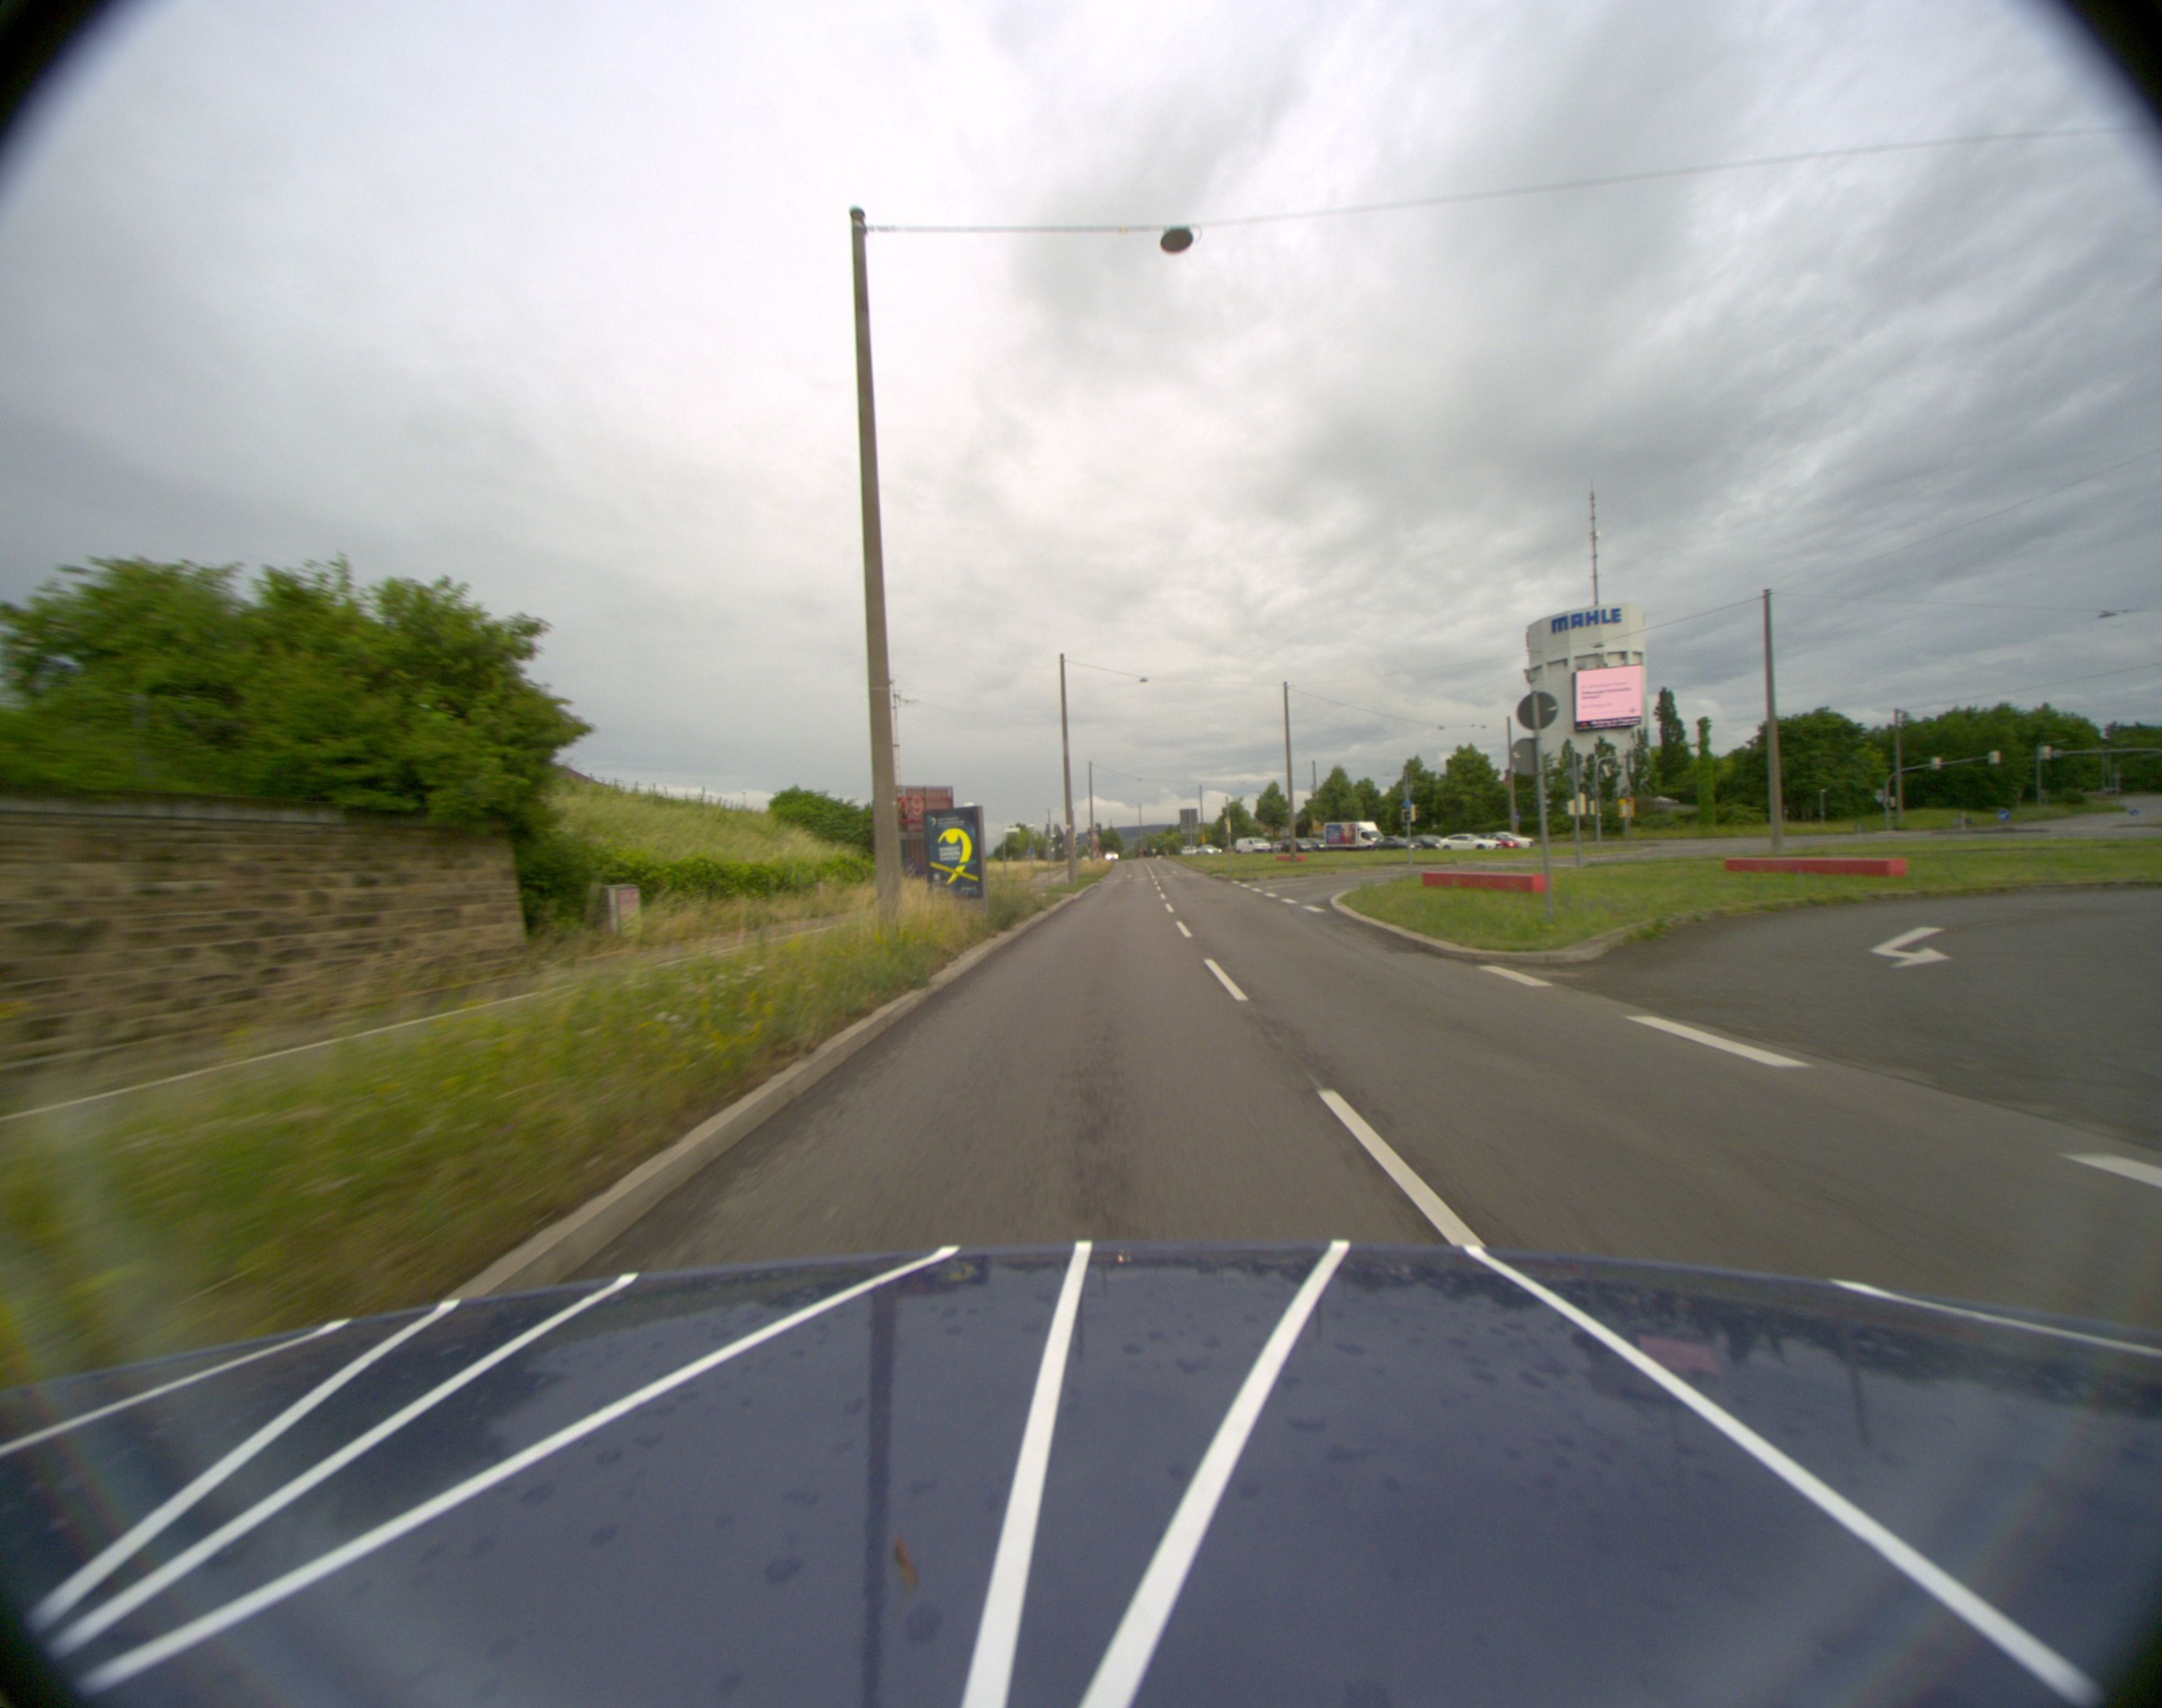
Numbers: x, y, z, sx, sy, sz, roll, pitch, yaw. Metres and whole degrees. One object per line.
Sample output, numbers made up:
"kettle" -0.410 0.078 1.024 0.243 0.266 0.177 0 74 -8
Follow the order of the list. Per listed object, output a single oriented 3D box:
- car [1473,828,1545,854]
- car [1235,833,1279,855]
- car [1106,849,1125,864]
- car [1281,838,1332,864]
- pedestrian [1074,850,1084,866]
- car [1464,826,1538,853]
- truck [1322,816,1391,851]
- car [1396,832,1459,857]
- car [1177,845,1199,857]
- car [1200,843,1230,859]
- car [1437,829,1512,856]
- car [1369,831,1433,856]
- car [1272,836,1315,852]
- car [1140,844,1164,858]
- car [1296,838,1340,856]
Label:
"car" 34.553 -1.043 61.408 2.003 1.673 4.510 -6 1 -35
"car" 19.984 -1.099 86.603 2.375 2.168 5.301 -6 1 -16
"car" 5.153 0.348 113.821 2.000 2.002 3.997 -5 1 -7
"car" 21.385 -0.233 72.297 2.001 2.168 5.163 -6 1 -16
"pedestrian" -0.186 0.468 83.525 0.800 1.713 0.988 -5 1 -11
"car" 32.686 -1.083 59.288 2.003 1.673 4.510 -6 1 -36
"truck" 25.706 -1.884 71.137 2.133 2.818 6.020 -6 1 -28
"car" 29.260 -0.779 64.306 2.002 1.673 4.512 -6 1 -29
"car" 17.159 -0.498 121.922 2.000 1.772 3.996 -5 1 -12
"car" 17.201 -0.351 97.967 2.000 1.790 5.165 -5 1 -10
"car" 29.547 -0.820 57.129 2.003 1.673 4.511 -5 1 -32
"car" 25.998 -0.848 61.917 2.002 1.673 4.512 -6 1 -26
"car" 22.235 -1.048 79.609 2.001 1.303 4.524 -6 1 -19
"car" 10.616 -0.432 113.807 2.000 1.790 5.165 -5 1 -10
"car" 25.044 -0.714 80.541 2.001 1.673 4.514 -6 1 -19
